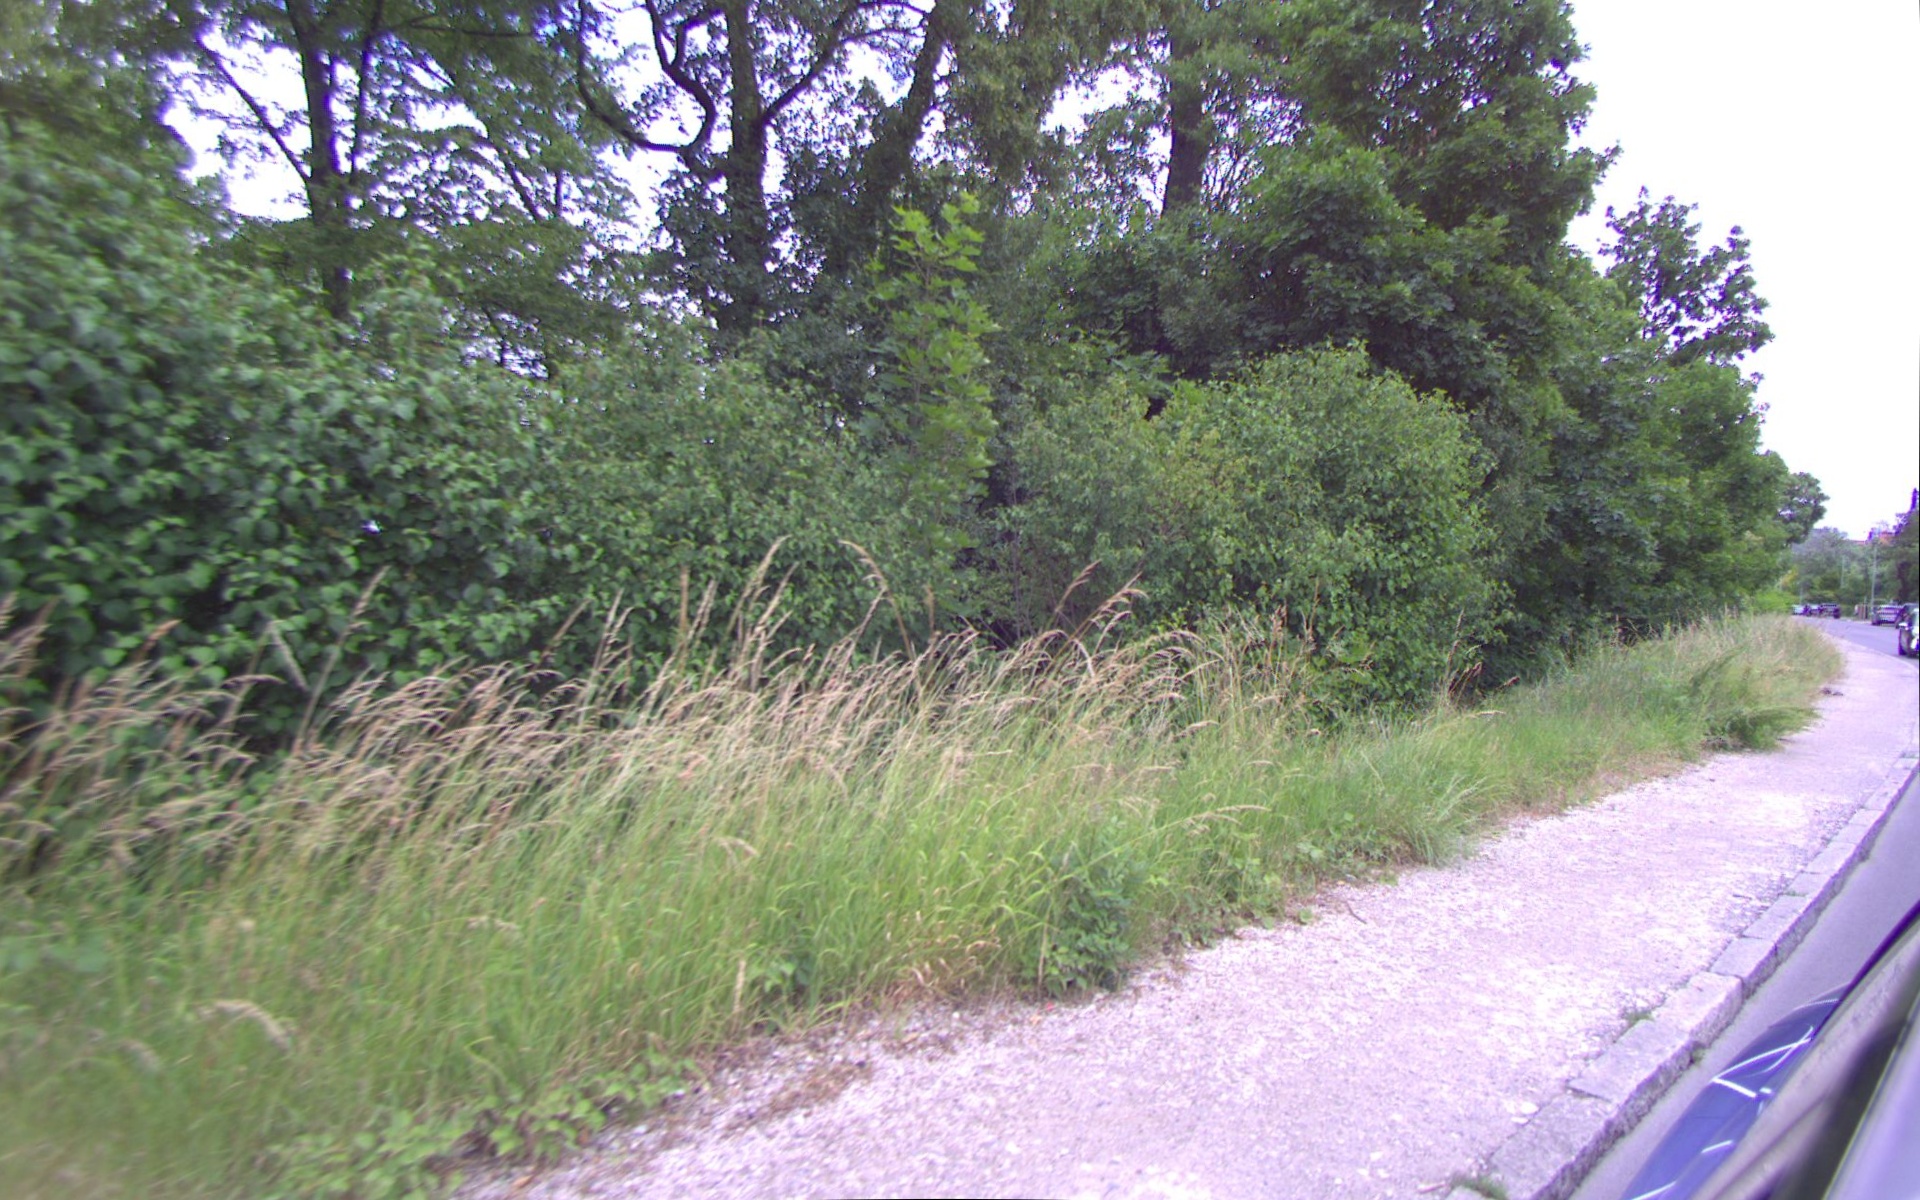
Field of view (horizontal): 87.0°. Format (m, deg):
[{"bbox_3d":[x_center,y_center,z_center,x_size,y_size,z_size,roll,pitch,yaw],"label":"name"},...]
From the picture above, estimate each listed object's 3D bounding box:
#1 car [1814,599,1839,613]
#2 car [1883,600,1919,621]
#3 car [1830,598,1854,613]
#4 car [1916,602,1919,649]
[{"bbox_3d":[110.968,0.780,129.621,1.911,1.701,4.144,2,1,34],"label":"car"},{"bbox_3d":[74.648,0.811,80.253,1.792,1.627,4.665,2,1,38],"label":"car"},{"bbox_3d":[105.210,0.624,120.750,1.914,1.701,4.136,2,1,39],"label":"car"},{"bbox_3d":[30.995,0.846,31.368,1.705,1.493,4.134,2,1,40],"label":"car"}]
